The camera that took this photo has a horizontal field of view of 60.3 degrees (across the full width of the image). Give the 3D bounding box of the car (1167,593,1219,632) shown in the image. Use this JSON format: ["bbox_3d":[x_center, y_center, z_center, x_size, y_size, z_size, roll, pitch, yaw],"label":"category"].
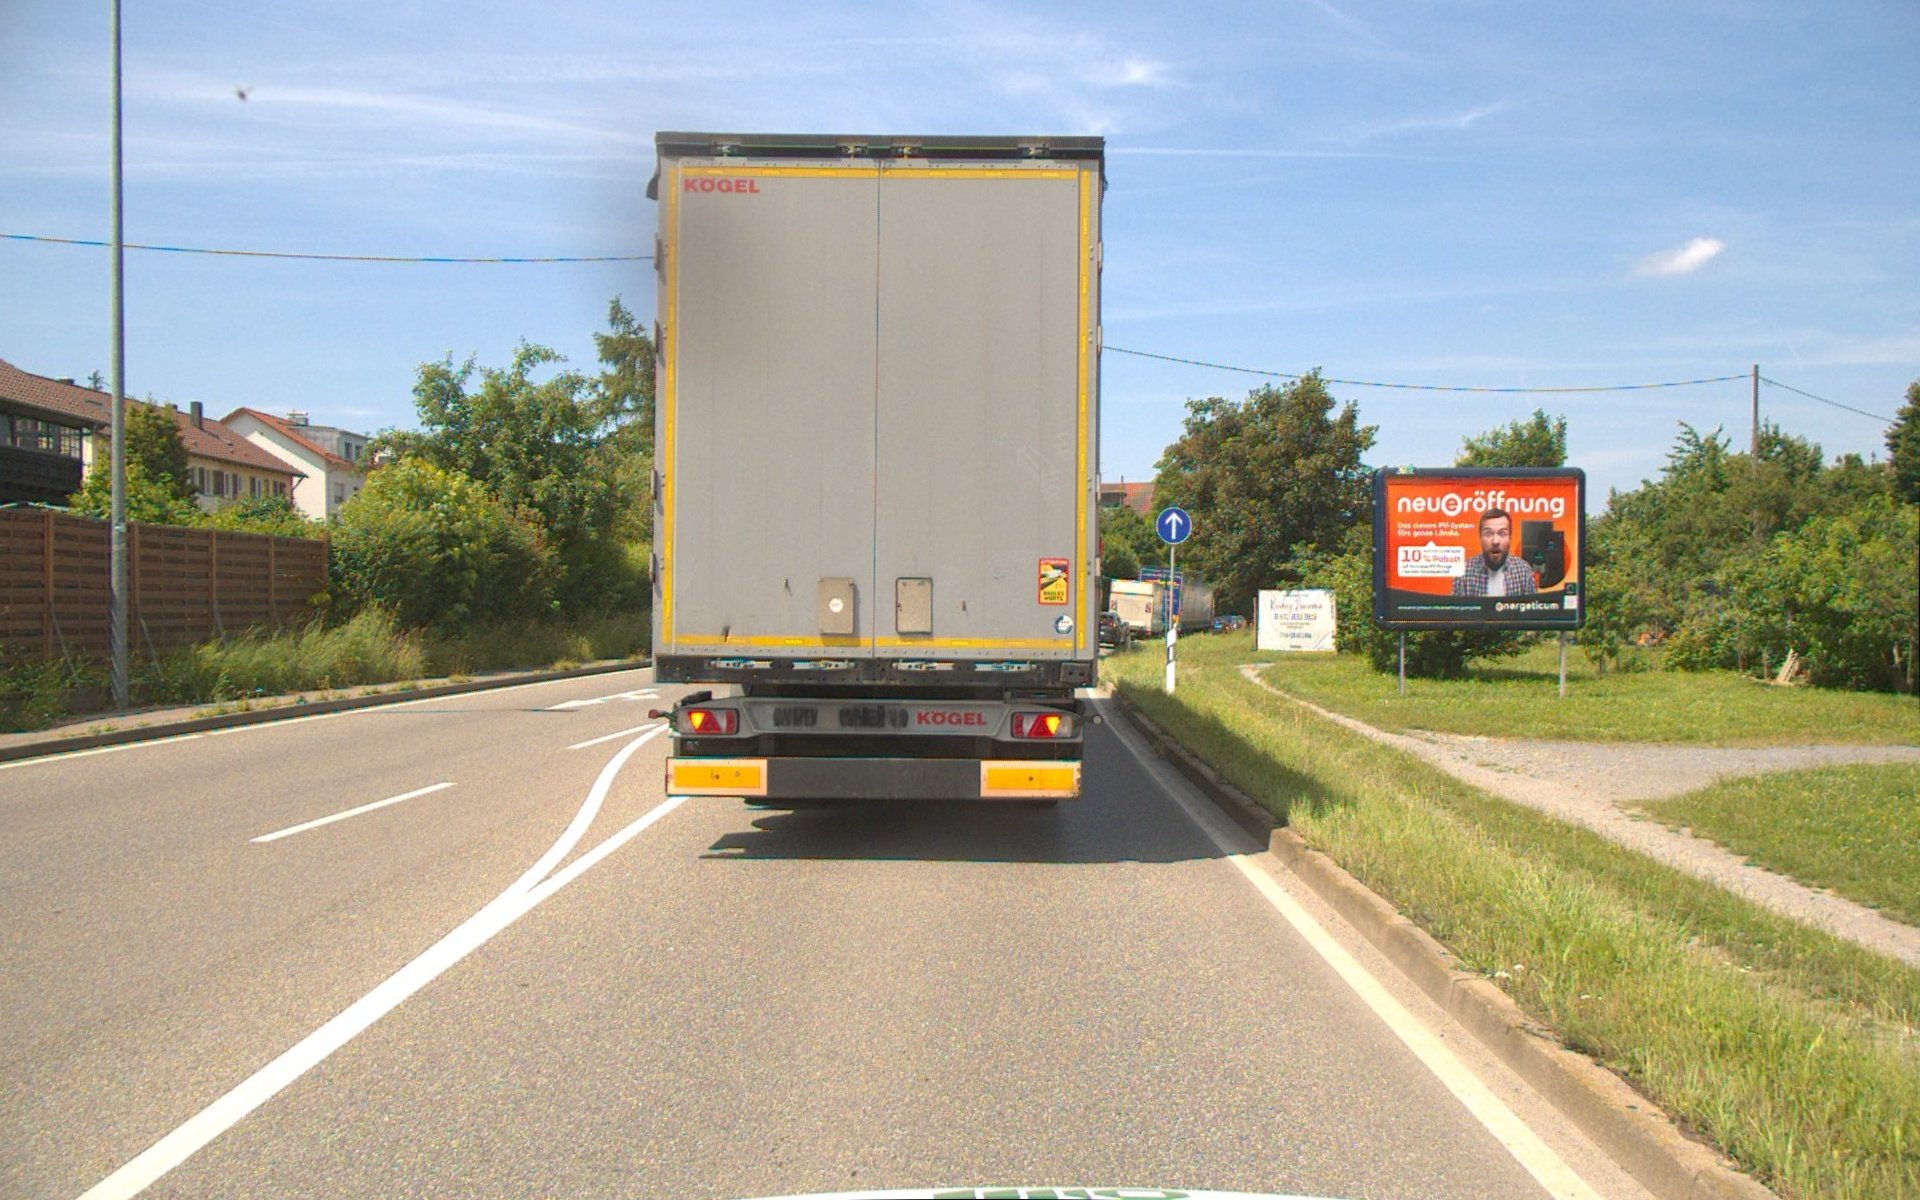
[{"bbox_3d":[14.618,0.776,103.382,2.478,2.317,6.386,1,0,15],"label":"car"}]

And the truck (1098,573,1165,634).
[{"bbox_3d":[8.513,0.190,81.468,2.489,2.852,6.036,1,-1,13],"label":"truck"}]

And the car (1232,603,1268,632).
[{"bbox_3d":[21.256,1.315,121.117,1.952,2.049,4.001,1,-1,19],"label":"car"}]

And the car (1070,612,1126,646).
[{"bbox_3d":[5.978,1.243,71.218,1.951,1.400,4.003,1,-1,11],"label":"car"}]

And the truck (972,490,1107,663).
[{"bbox_3d":[2.746,-0.507,50.256,2.701,4.364,16.427,1,-1,7],"label":"truck"}]

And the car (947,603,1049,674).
[{"bbox_3d":[0.854,0.795,34.788,1.780,1.370,3.850,1,-1,7],"label":"car"}]

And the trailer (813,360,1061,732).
[{"bbox_3d":[-0.159,-0.635,21.960,2.766,4.183,6.546,0,0,2],"label":"trailer"}]

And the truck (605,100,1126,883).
[{"bbox_3d":[-0.362,-0.630,14.685,2.763,4.200,11.446,1,0,2],"label":"truck"}]

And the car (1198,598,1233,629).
[{"bbox_3d":[17.415,0.914,112.750,1.951,2.049,4.003,1,-1,15],"label":"car"}]

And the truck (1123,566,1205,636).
[{"bbox_3d":[11.562,0.015,92.901,3.360,3.667,9.361,1,1,14],"label":"truck"}]
